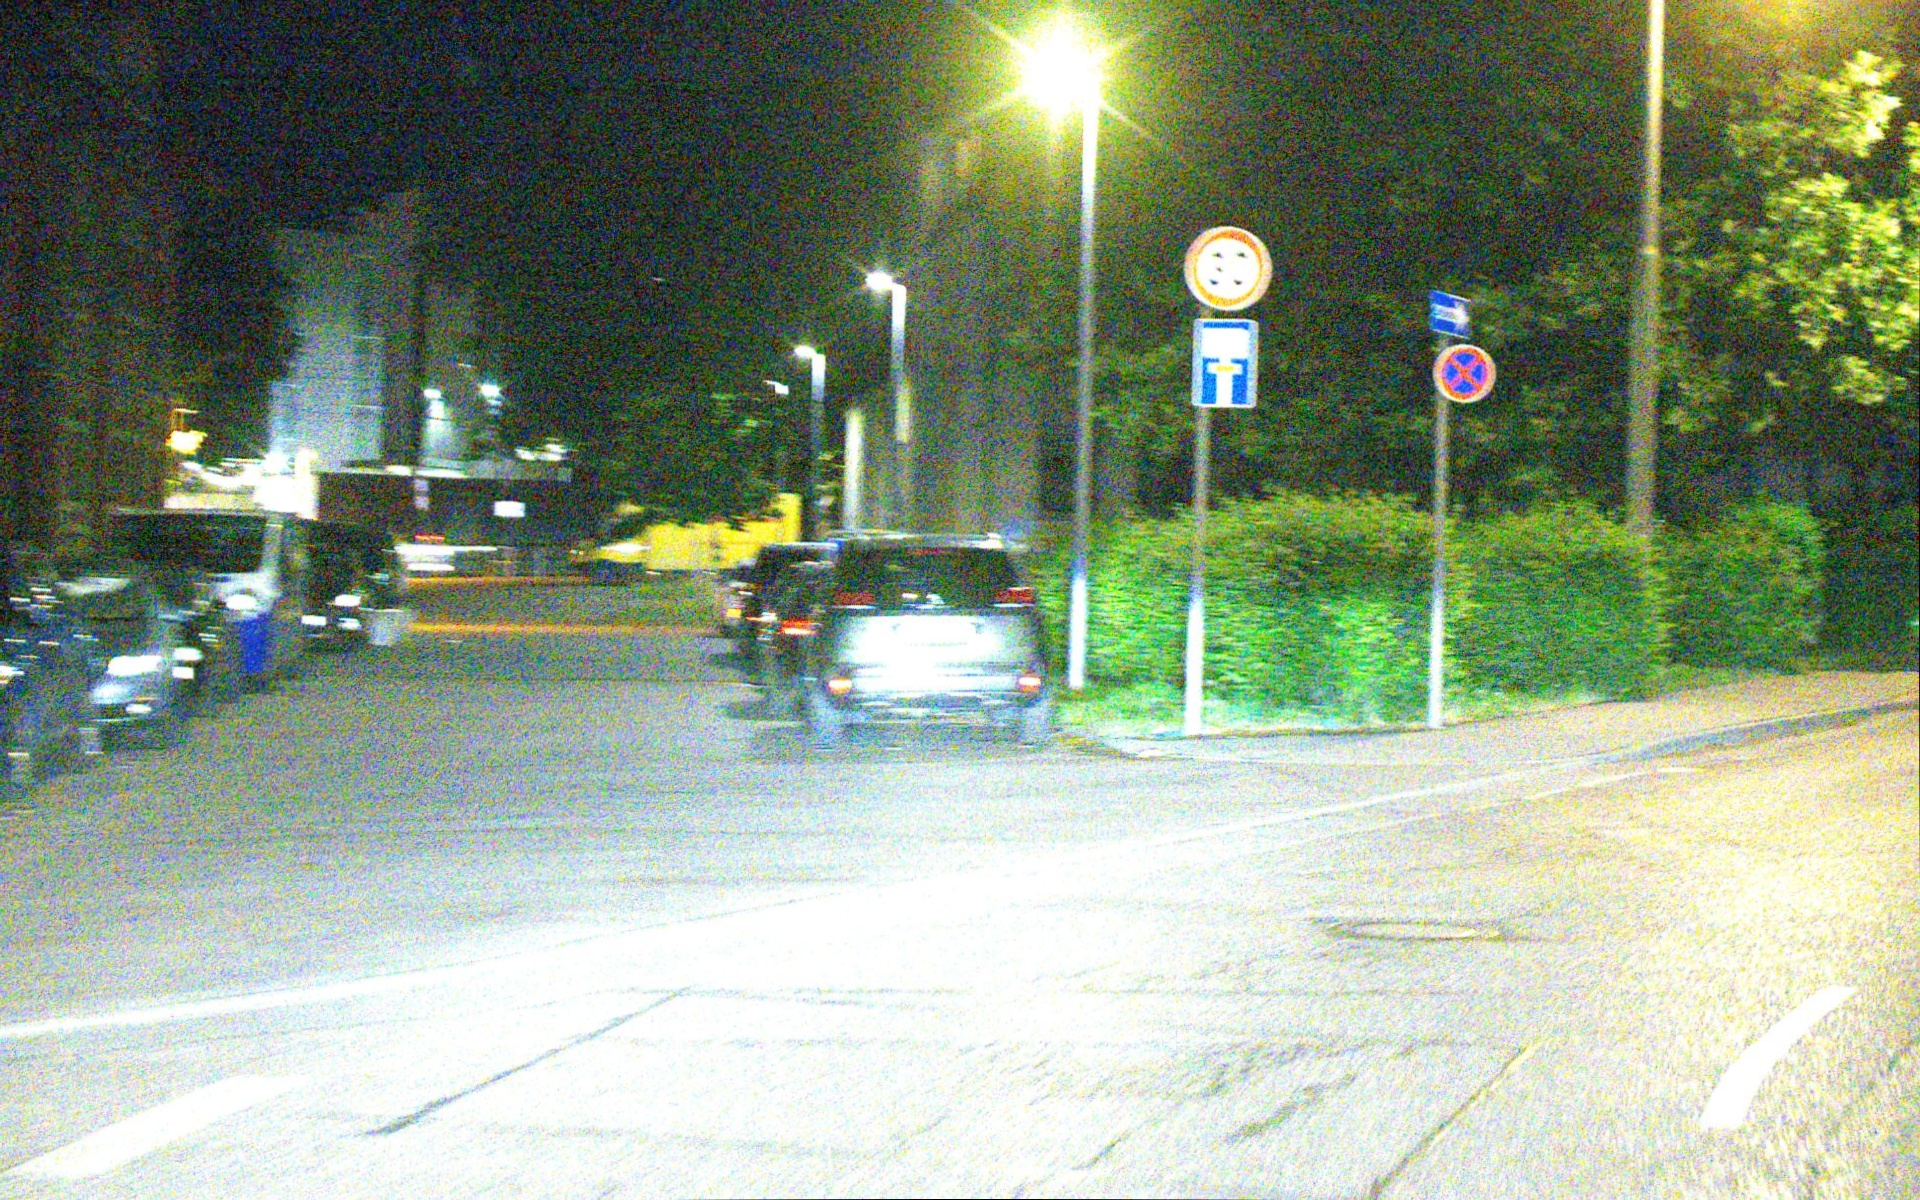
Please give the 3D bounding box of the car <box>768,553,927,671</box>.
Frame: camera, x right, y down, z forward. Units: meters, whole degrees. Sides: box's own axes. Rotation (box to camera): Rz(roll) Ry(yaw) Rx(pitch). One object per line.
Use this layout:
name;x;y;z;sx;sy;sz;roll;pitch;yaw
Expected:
car;-1.524;0.115;45.034;1.880;1.410;4.473;-2;1;-4

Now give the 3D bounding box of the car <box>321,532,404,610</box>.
car;-13.876;-0.675;79.979;1.637;1.754;3.964;0;0;-6

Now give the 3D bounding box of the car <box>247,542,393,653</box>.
car;-9.230;-0.047;49.825;1.704;1.505;4.101;1;0;-6

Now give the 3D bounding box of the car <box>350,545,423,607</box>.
car;-14.318;-0.603;85.962;1.606;1.511;3.809;0;0;-6

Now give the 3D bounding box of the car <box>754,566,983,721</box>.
car;-0.936;0.377;32.743;1.963;1.378;4.001;0;0;-5

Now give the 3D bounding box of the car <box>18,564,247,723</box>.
car;-7.718;0.364;32.356;1.691;1.393;4.080;0;1;-8

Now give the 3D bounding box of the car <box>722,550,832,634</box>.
car;-3.303;-0.174;61.500;1.758;1.440;4.027;0;1;-6

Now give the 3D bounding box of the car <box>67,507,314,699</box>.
car;-8.287;-0.008;37.424;1.993;1.948;4.806;0;1;-5

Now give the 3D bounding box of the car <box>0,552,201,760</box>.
car;-7.040;0.374;27.438;1.838;1.502;4.743;0;1;-12

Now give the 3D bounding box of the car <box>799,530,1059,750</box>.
car;-0.326;0.271;27.559;1.884;1.597;4.108;-1;1;-3

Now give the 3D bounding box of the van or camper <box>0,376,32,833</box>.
van or camper;-6.163;0.077;16.588;2.158;2.527;6.228;-2;1;-5

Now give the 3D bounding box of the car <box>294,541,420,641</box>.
car;-9.742;-0.154;55.734;1.676;1.561;4.106;0;0;-5

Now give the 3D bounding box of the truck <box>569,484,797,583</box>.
truck;-8.441;-2.024;104.605;6.774;2.834;2.001;1;1;-8

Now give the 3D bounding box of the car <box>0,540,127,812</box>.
car;-6.666;0.424;22.110;1.891;1.585;4.375;-1;1;-5

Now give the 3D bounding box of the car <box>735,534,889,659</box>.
car;-2.233;-0.083;50.558;2.040;1.688;4.882;-2;1;-4
